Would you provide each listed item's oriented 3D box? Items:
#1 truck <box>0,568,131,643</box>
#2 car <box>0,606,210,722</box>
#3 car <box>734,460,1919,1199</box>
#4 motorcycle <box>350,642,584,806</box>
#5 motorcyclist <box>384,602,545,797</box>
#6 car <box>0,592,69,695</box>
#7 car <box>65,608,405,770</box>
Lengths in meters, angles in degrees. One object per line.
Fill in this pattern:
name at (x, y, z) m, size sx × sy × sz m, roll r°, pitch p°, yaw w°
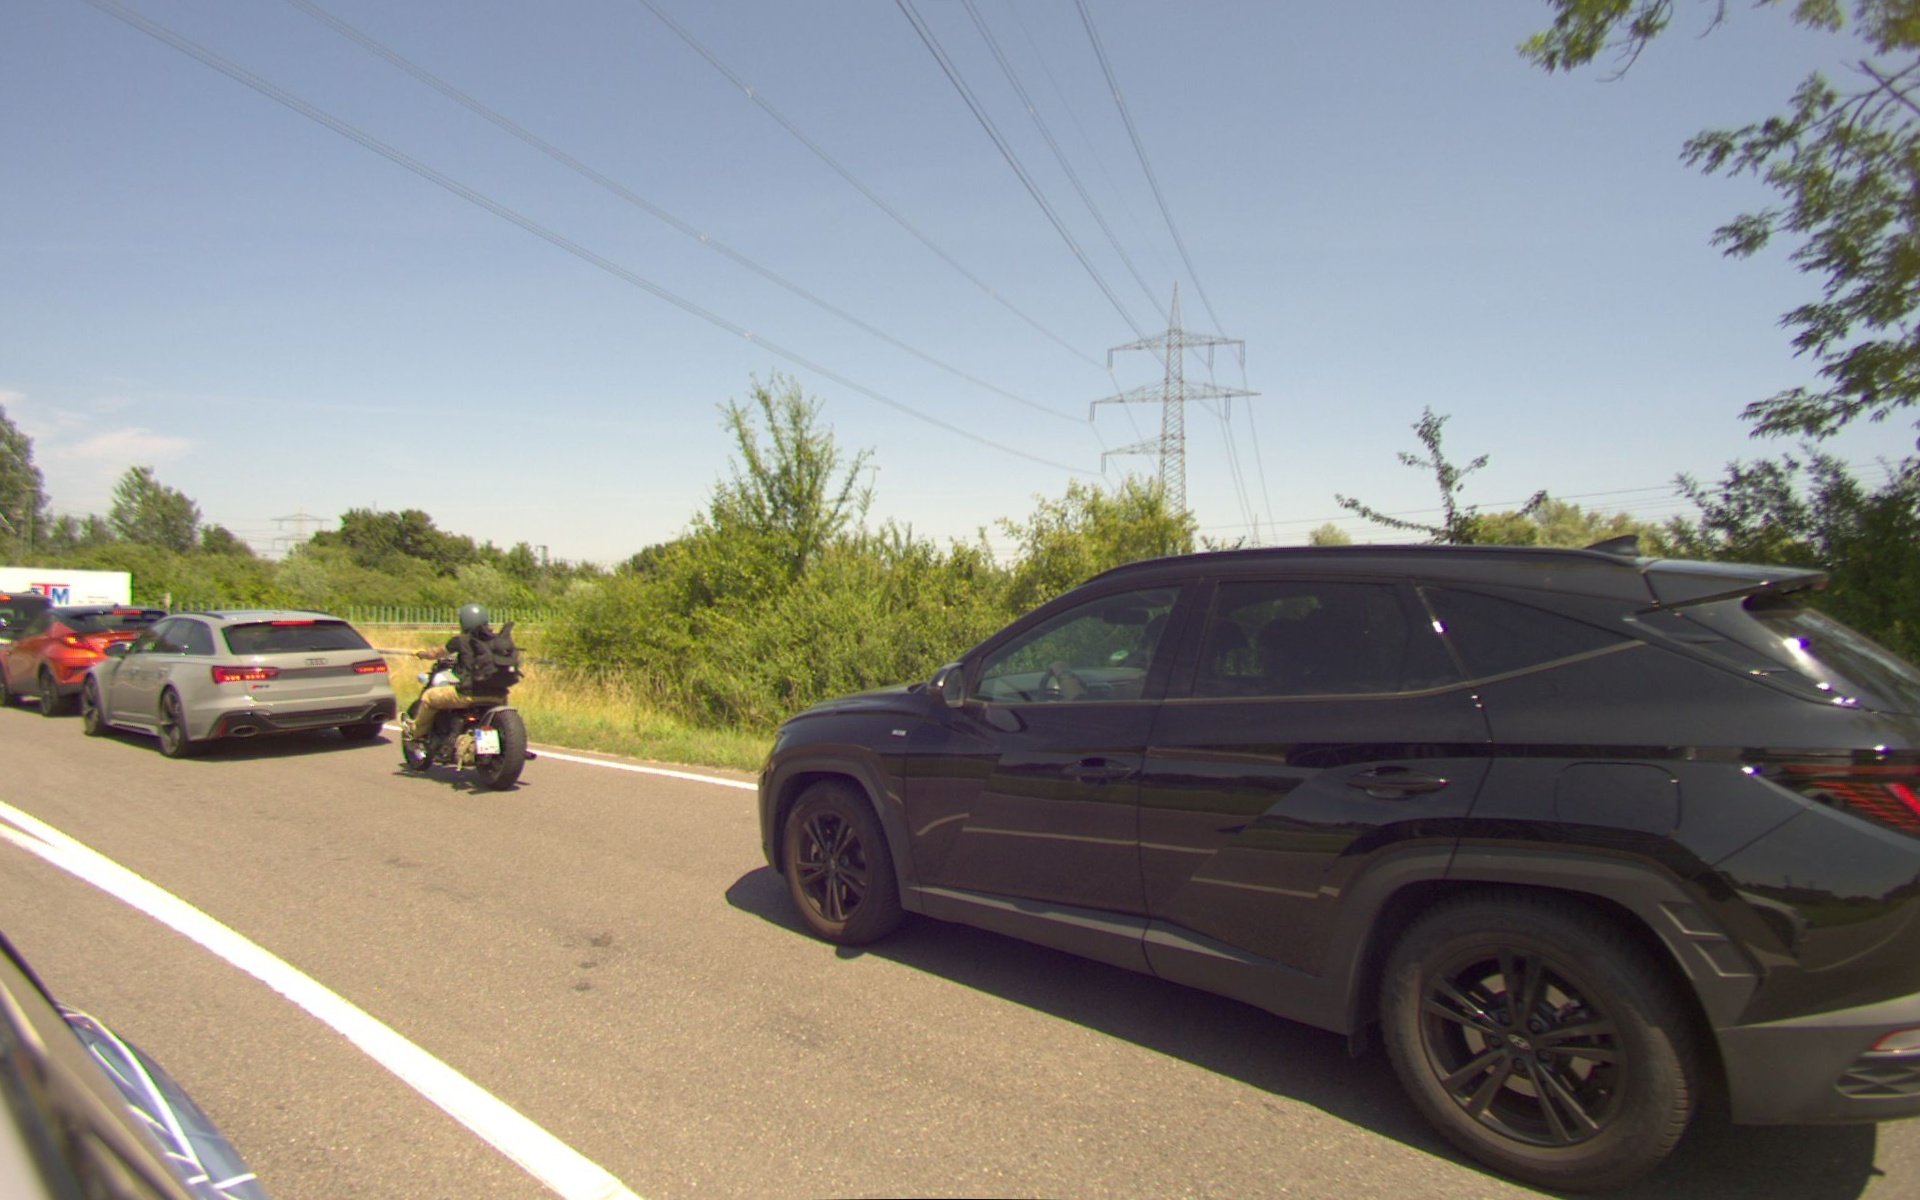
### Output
truck at (-46.950, 0.274, 49.844) m, size 2.704 × 3.606 × 9.495 m, roll 0°, pitch 0°, yaw 19°
car at (-13.281, 0.874, 15.433) m, size 4.385 × 1.527 × 1.782 m, roll 0°, pitch -2°, yaw 37°
car at (1.107, 0.575, 3.799) m, size 4.248 × 1.650 × 1.683 m, roll -1°, pitch 0°, yaw 42°
motorcycle at (-4.219, 0.962, 8.553) m, size 2.426 × 1.132 × 0.774 m, roll 0°, pitch 0°, yaw 37°
motorcyclist at (-4.173, 0.780, 8.520) m, size 1.129 × 1.506 × 0.773 m, roll 0°, pitch -1°, yaw 37°
car at (-19.044, 0.805, 19.428) m, size 4.429 × 1.846 × 1.909 m, roll -1°, pitch -2°, yaw 35°
car at (-8.382, 0.839, 11.531) m, size 4.801 × 1.471 × 1.824 m, roll 0°, pitch -1°, yaw 37°
